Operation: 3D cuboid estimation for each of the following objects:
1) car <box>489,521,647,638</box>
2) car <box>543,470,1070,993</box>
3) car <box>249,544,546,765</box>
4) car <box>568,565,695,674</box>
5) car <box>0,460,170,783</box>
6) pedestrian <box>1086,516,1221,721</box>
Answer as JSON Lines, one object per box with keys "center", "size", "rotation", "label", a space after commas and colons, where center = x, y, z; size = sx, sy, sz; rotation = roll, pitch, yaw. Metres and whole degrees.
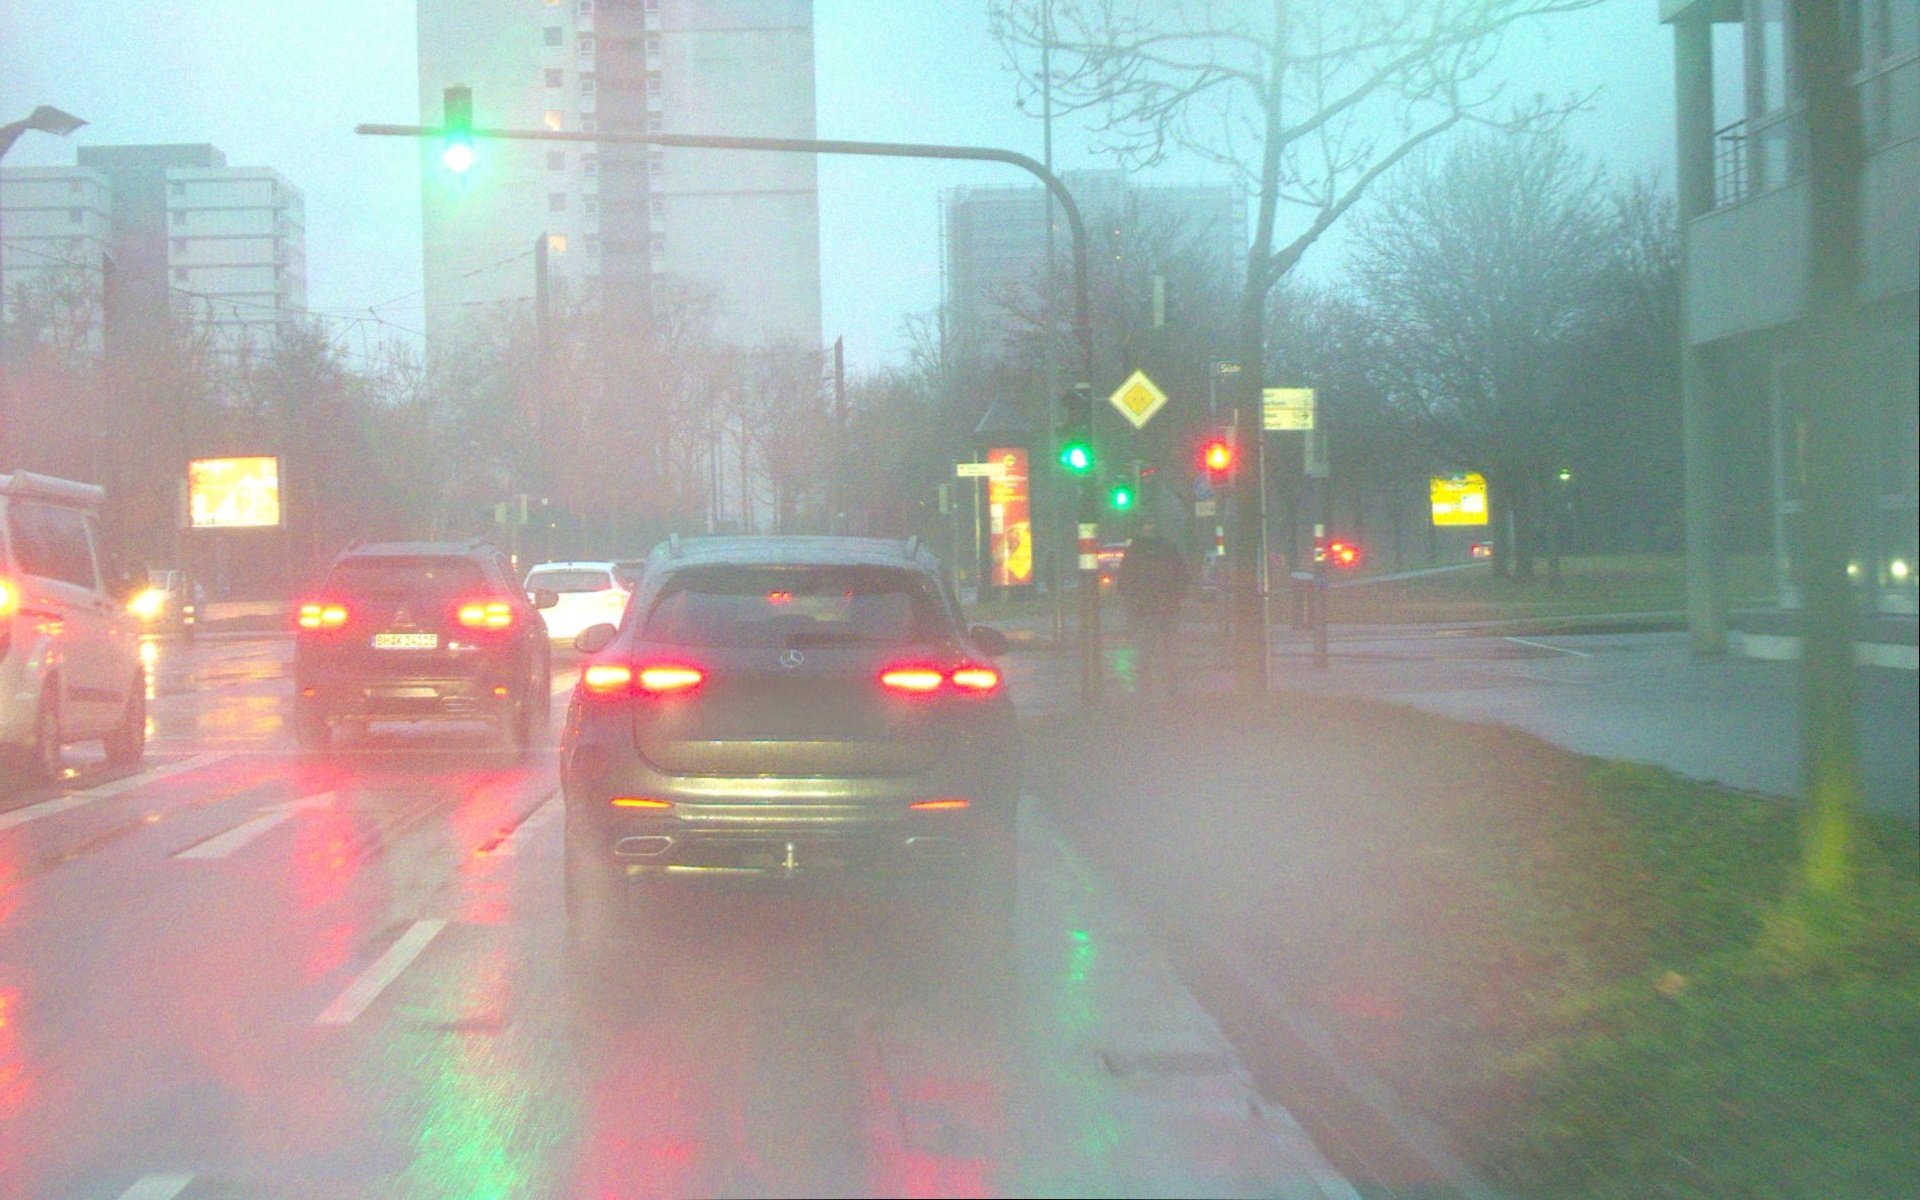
{"center": [-5.667, -0.282, 50.130], "size": [1.993, 1.636, 4.022], "rotation": [0, 0, -2], "label": "car"}
{"center": [-0.761, 0.504, 15.053], "size": [1.993, 1.969, 4.069], "rotation": [0, 0, -5], "label": "car"}
{"center": [-4.599, 0.430, 28.681], "size": [1.993, 1.706, 4.325], "rotation": [0, 0, -3], "label": "car"}
{"center": [-6.185, 0.367, 65.072], "size": [1.993, 2.007, 4.000], "rotation": [0, 0, 0], "label": "car"}
{"center": [-6.984, 0.113, 23.995], "size": [1.952, 2.026, 4.883], "rotation": [0, 1, -2], "label": "car"}
{"center": [1.743, 0.161, 30.929], "size": [0.797, 1.744, 0.860], "rotation": [-5, 1, 25], "label": "pedestrian"}
